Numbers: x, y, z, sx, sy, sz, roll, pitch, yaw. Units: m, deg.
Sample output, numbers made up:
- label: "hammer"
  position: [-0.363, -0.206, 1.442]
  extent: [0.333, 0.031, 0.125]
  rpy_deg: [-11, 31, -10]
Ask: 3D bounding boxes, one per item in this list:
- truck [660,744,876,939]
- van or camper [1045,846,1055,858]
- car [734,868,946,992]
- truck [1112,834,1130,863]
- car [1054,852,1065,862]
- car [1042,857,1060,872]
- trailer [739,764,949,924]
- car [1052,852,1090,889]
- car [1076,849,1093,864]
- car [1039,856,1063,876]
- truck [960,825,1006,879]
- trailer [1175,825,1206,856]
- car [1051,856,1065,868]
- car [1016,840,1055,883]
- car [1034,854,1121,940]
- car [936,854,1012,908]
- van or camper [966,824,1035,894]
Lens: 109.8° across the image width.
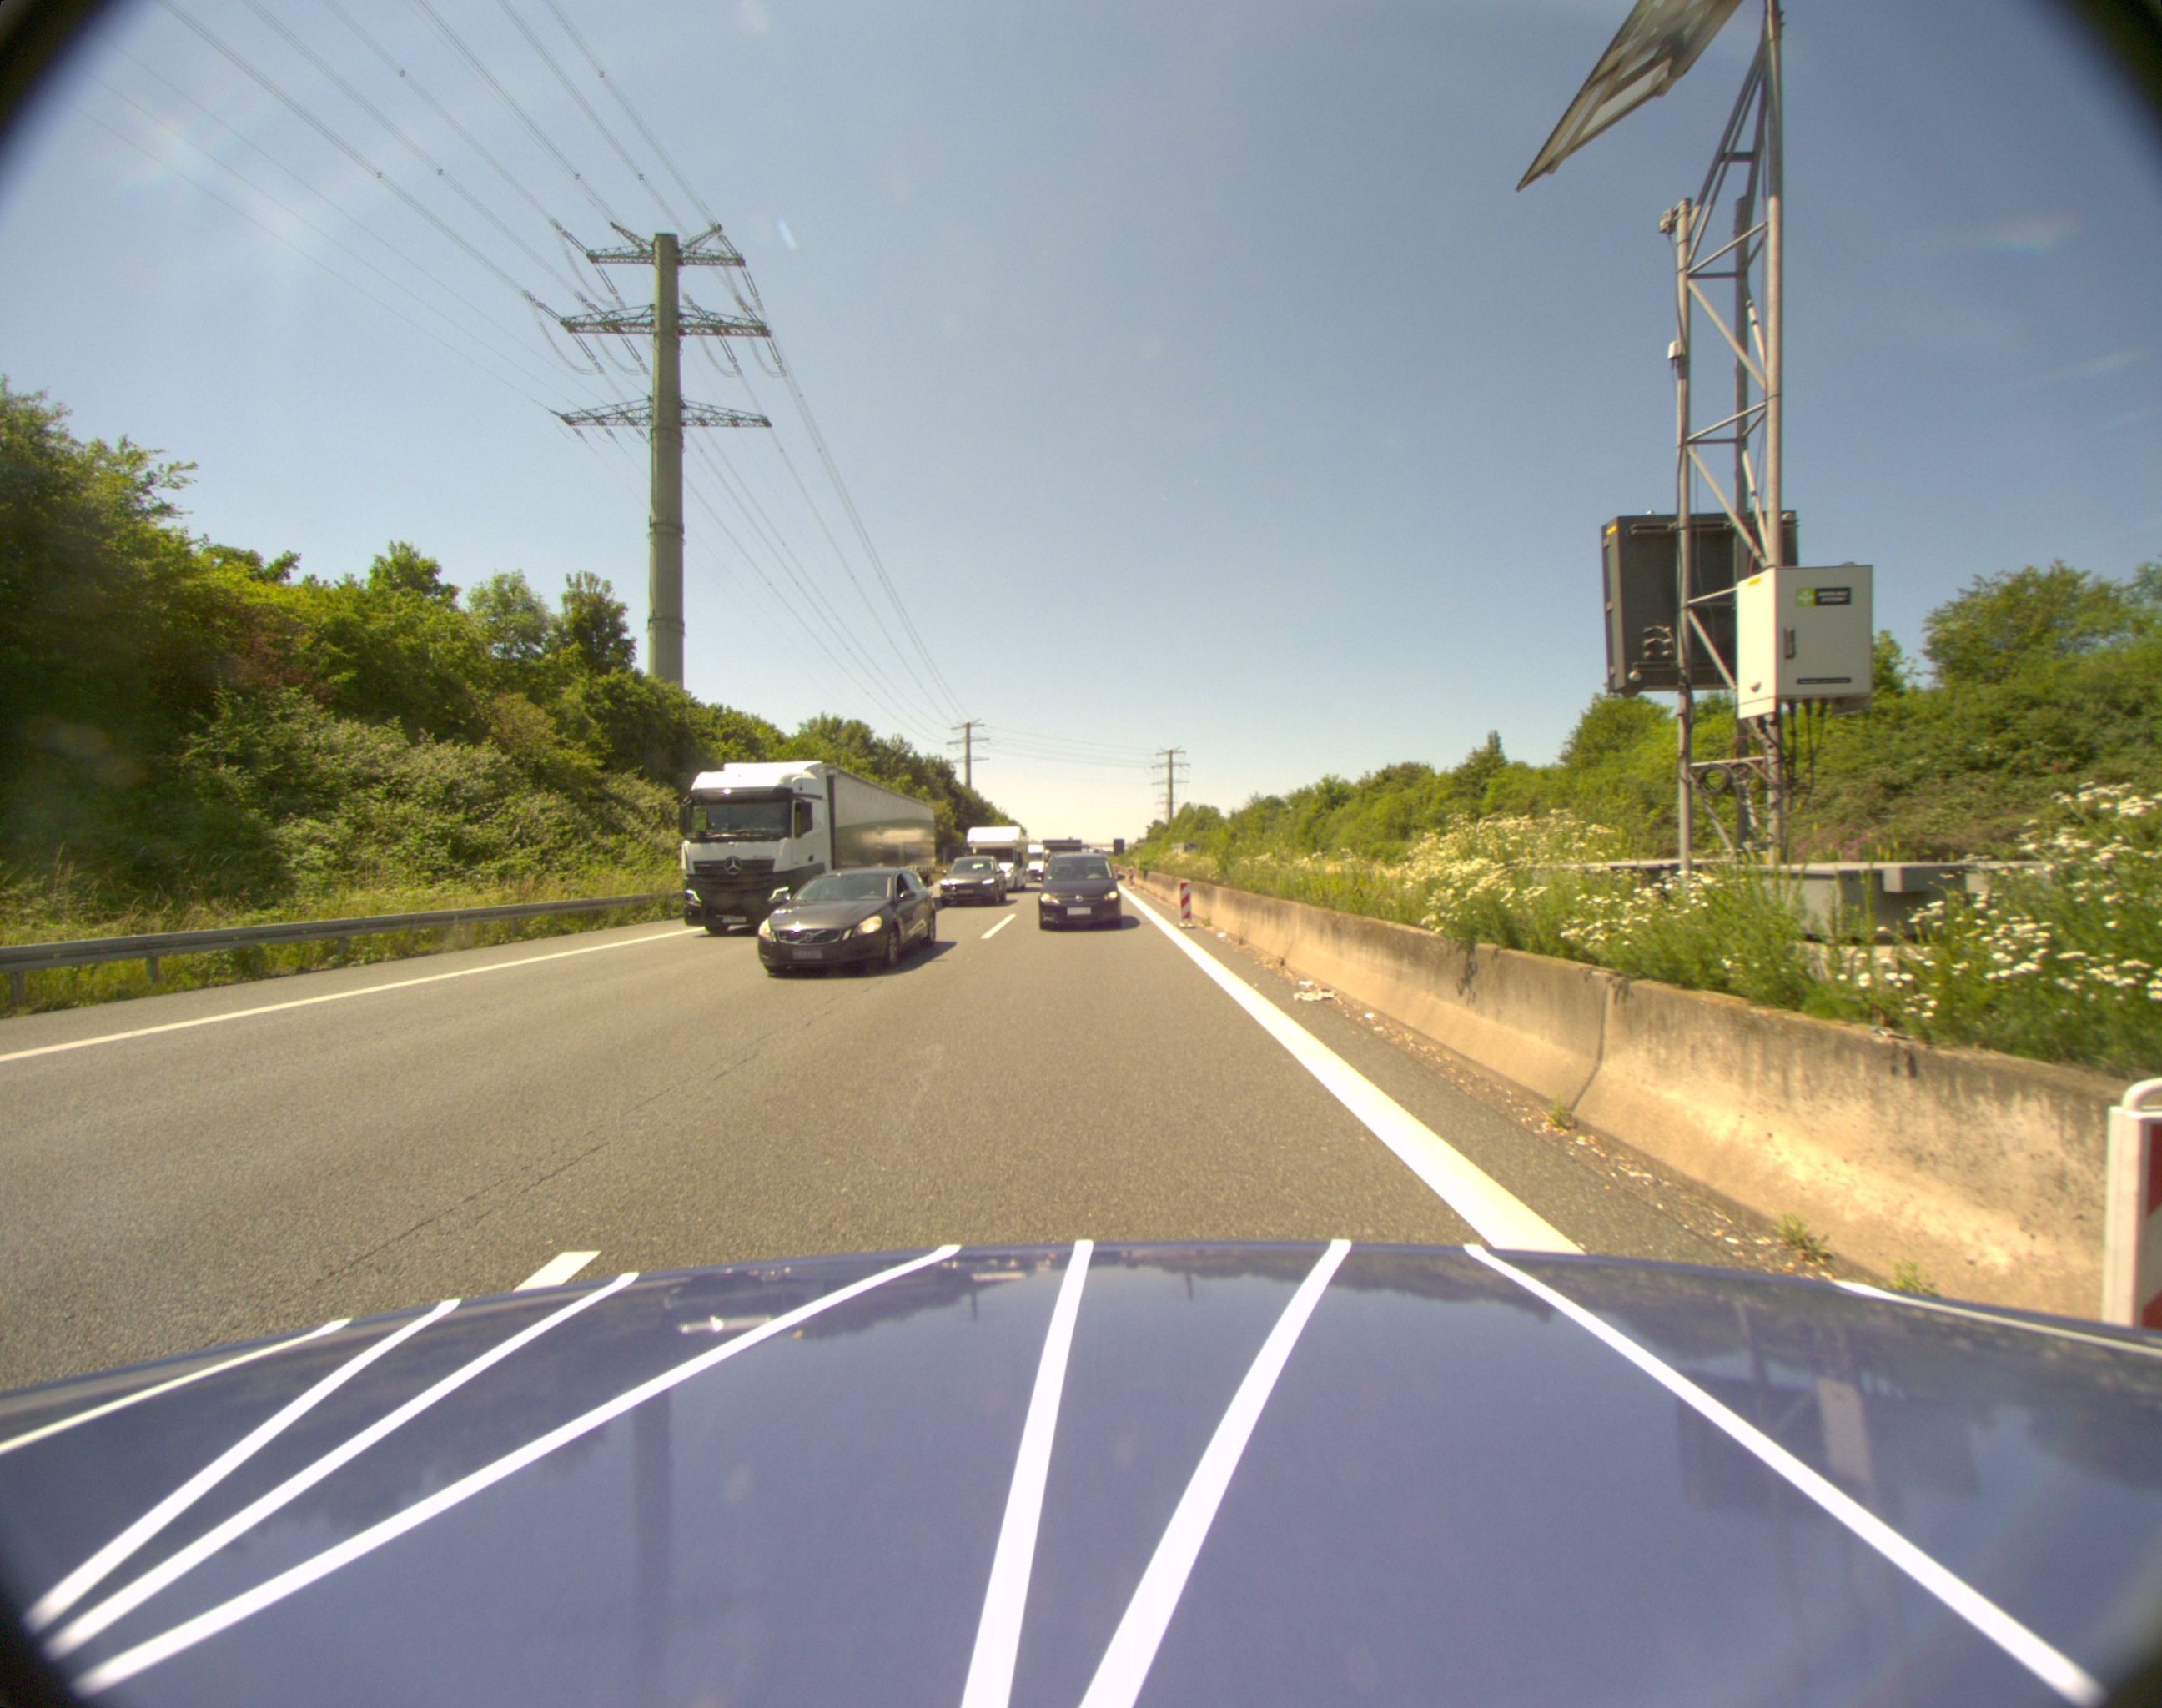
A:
- label: "truck"
  position: [-7.387, -0.286, 18.937]
  extent: [2.740, 4.024, 5.793]
  rpy_deg: [-2, 1, 1]
- label: "van or camper"
  position: [-7.041, -0.457, 171.530]
  extent: [1.978, 2.511, 4.369]
  rpy_deg: [-2, 1, 1]
- label: "car"
  position: [-3.513, 1.027, 12.064]
  extent: [1.799, 1.411, 4.509]
  rpy_deg: [-2, 1, 1]
- label: "truck"
  position: [4.604, -0.648, 88.542]
  extent: [1.892, 3.263, 5.590]
  rpy_deg: [-2, 1, 1]
- label: "car"
  position: [-3.707, 0.531, 131.297]
  extent: [1.720, 1.510, 3.874]
  rpy_deg: [-2, 1, 1]
- label: "car"
  position: [-3.395, 1.187, 86.883]
  extent: [1.720, 1.510, 3.874]
  rpy_deg: [-2, 1, 1]
- label: "trailer"
  position: [-7.262, -0.323, 26.199]
  extent: [2.790, 4.024, 13.110]
  rpy_deg: [-2, 1, 1]
- label: "car"
  position: [-0.460, 0.779, 37.877]
  extent: [1.700, 1.641, 4.220]
  rpy_deg: [-2, 1, 1]
- label: "car"
  position: [0.488, 0.298, 95.746]
  extent: [1.973, 1.682, 3.874]
  rpy_deg: [-2, 1, 1]
- label: "car"
  position: [-2.502, 0.997, 63.787]
  extent: [1.720, 1.510, 3.874]
  rpy_deg: [-2, 1, 1]
- label: "truck"
  position: [-7.916, -0.156, 62.267]
  extent: [2.792, 4.121, 5.636]
  rpy_deg: [-2, 1, 1]
- label: "trailer"
  position: [16.693, -1.952, 116.423]
  extent: [2.967, 4.378, 12.905]
  rpy_deg: [-2, 1, 1]
- label: "car"
  position: [-3.117, 1.049, 103.660]
  extent: [1.720, 1.510, 3.874]
  rpy_deg: [-2, 1, 1]
- label: "car"
  position: [-3.061, 0.467, 52.475]
  extent: [2.042, 2.703, 6.705]
  rpy_deg: [-2, 1, 1]
- label: "car"
  position: [-0.045, 0.865, 17.479]
  extent: [1.700, 1.641, 4.220]
  rpy_deg: [-2, 1, 1]
- label: "car"
  position: [-3.597, 0.868, 26.333]
  extent: [1.893, 1.602, 4.220]
  rpy_deg: [-2, 1, 1]
- label: "van or camper"
  position: [-3.799, 0.191, 37.426]
  extent: [2.375, 3.026, 7.632]
  rpy_deg: [-2, 1, 1]
